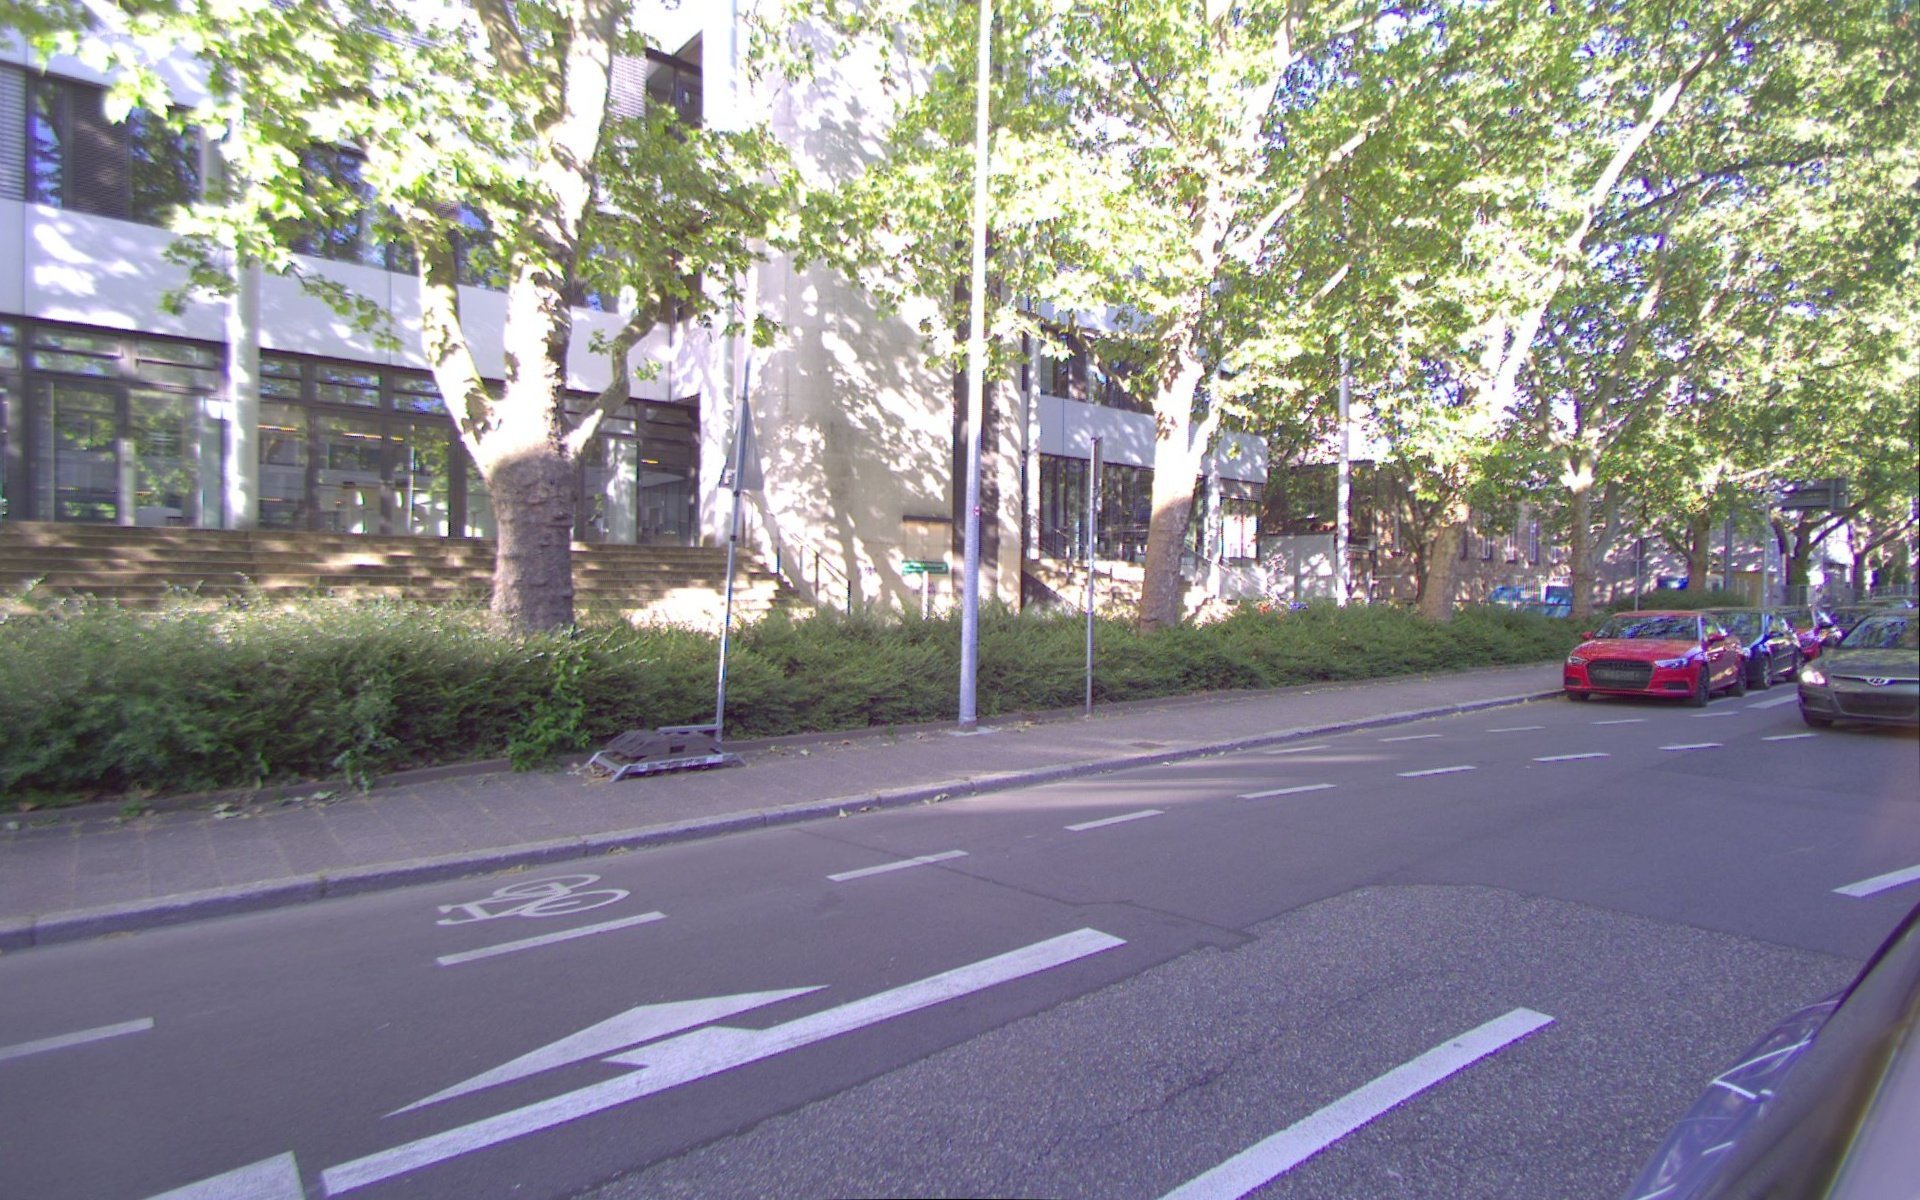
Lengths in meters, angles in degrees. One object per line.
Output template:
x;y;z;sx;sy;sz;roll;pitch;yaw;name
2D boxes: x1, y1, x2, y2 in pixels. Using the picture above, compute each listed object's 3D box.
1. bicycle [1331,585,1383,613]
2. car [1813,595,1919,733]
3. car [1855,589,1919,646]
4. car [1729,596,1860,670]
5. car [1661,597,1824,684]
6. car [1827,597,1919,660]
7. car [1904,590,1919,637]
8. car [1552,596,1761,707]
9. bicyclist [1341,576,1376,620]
15.029;-0.058;38.341;0.719;1.027;1.801;0;0;-29;bicycle
12.020;0.698;12.199;3.899;1.501;1.650;0;0;-34;car
29.667;0.504;31.977;3.840;1.708;1.633;0;1;-42;car
18.670;0.690;22.597;3.851;1.511;1.679;0;-1;-42;car
14.982;0.709;19.301;4.022;1.472;1.739;0;-1;-42;car
26.081;0.740;28.706;4.022;1.653;1.739;0;1;-42;car
38.765;0.532;40.019;3.829;1.818;1.739;0;1;-42;car
11.199;0.735;16.174;4.071;1.548;1.827;0;-1;-42;car
15.064;-0.068;38.274;0.684;1.640;1.039;0;0;-30;bicyclist
